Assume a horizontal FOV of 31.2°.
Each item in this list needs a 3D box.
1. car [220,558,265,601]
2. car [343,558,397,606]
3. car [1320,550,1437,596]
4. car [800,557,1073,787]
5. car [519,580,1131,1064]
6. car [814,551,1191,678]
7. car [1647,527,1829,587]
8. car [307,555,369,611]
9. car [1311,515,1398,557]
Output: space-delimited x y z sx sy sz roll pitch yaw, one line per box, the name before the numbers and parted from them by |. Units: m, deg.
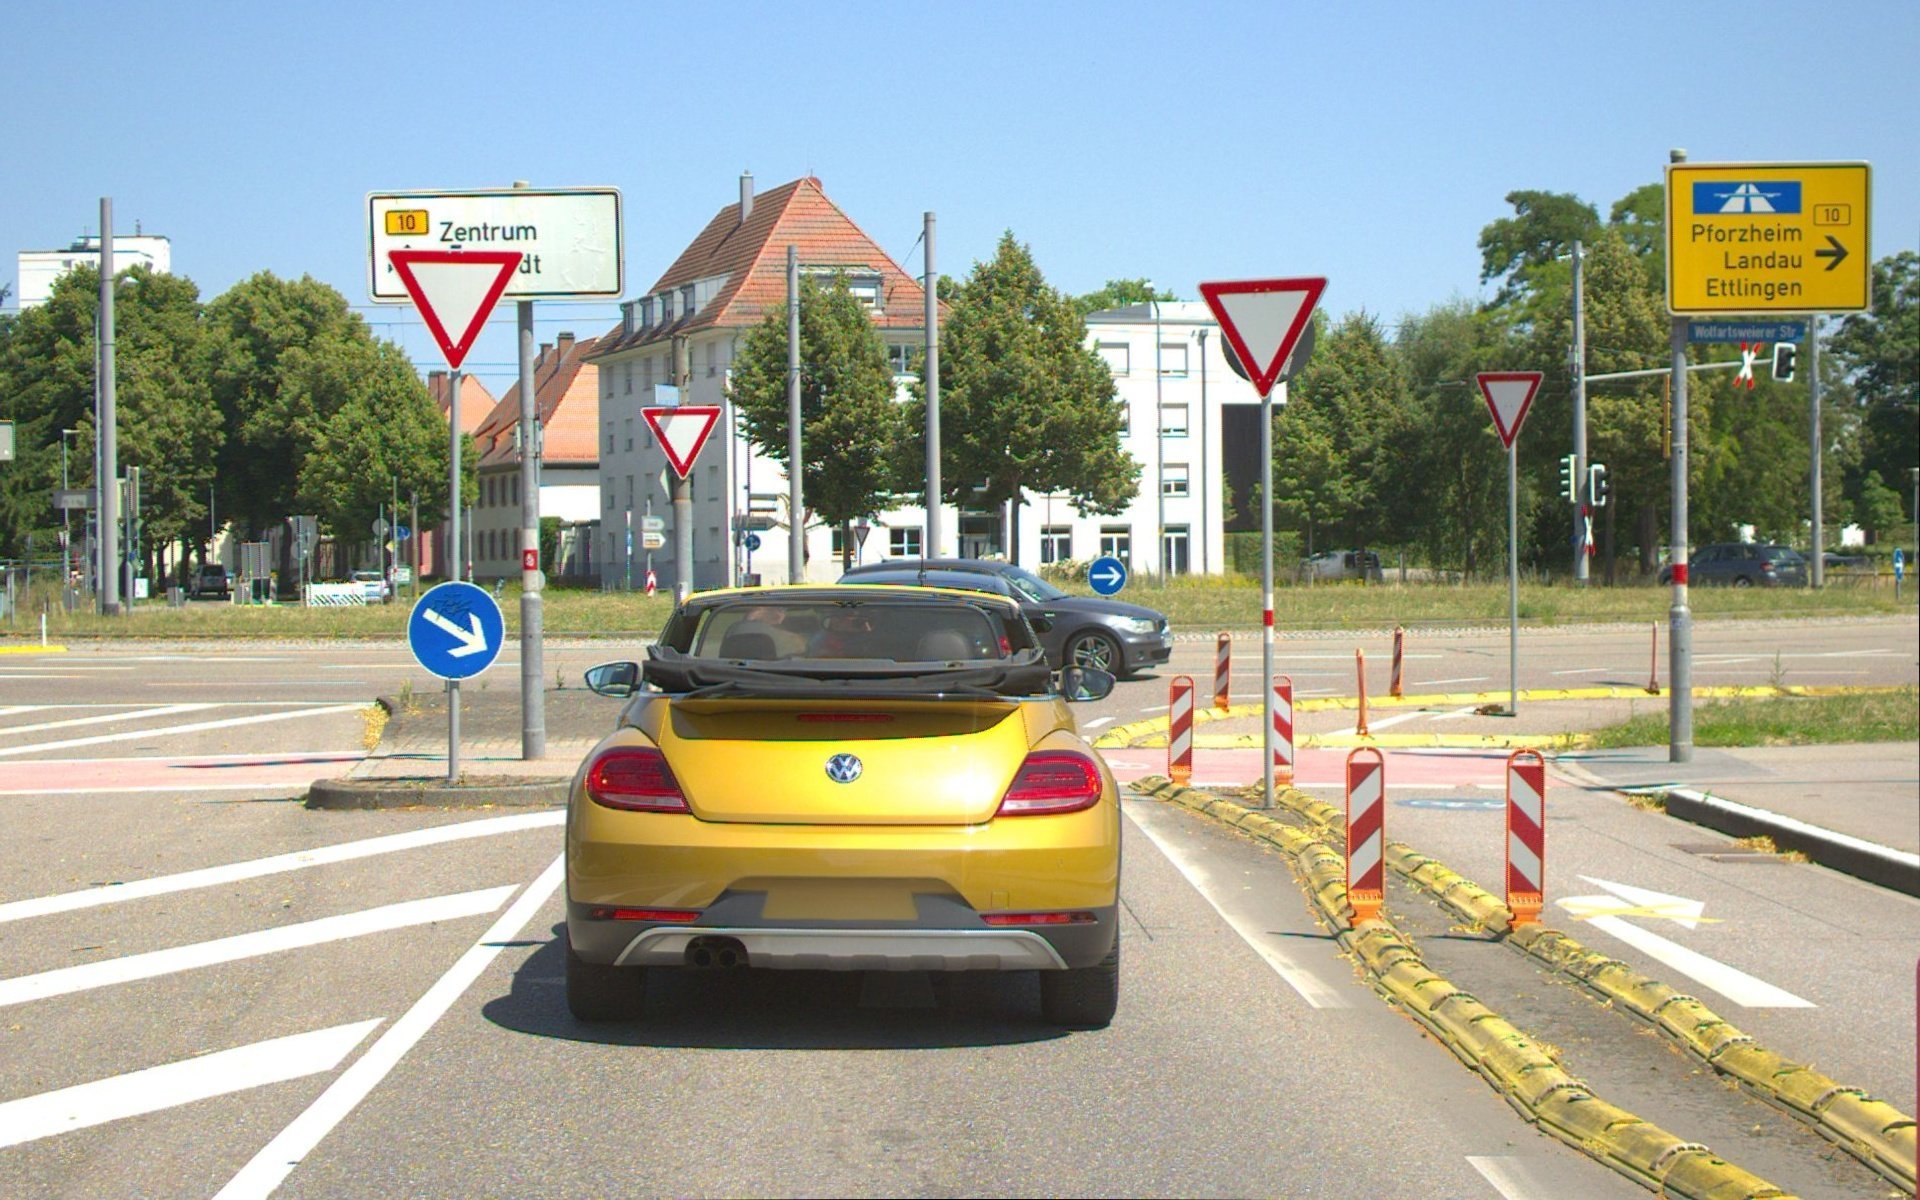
car | -34.648 -1.004 165.943 1.993 2.007 4.001 1 0 -13
car | -25.104 -0.771 146.308 1.993 2.007 4.001 1 0 -13
car | 15.999 -1.039 131.477 3.986 1.678 2.001 1 0 -13
car | -0.237 0.449 24.675 1.797 1.435 4.001 0 2 -2
car | -0.426 0.655 12.131 1.825 1.398 3.662 0 1 -1
car | 0.508 0.161 40.159 4.070 1.398 1.752 0 2 16
car | 19.501 -1.075 86.236 1.995 1.459 3.998 1 0 -45
car | -22.730 -0.632 125.597 1.993 2.007 4.001 1 0 -13
car | 19.305 -3.122 168.102 3.990 2.007 1.999 1 0 15
